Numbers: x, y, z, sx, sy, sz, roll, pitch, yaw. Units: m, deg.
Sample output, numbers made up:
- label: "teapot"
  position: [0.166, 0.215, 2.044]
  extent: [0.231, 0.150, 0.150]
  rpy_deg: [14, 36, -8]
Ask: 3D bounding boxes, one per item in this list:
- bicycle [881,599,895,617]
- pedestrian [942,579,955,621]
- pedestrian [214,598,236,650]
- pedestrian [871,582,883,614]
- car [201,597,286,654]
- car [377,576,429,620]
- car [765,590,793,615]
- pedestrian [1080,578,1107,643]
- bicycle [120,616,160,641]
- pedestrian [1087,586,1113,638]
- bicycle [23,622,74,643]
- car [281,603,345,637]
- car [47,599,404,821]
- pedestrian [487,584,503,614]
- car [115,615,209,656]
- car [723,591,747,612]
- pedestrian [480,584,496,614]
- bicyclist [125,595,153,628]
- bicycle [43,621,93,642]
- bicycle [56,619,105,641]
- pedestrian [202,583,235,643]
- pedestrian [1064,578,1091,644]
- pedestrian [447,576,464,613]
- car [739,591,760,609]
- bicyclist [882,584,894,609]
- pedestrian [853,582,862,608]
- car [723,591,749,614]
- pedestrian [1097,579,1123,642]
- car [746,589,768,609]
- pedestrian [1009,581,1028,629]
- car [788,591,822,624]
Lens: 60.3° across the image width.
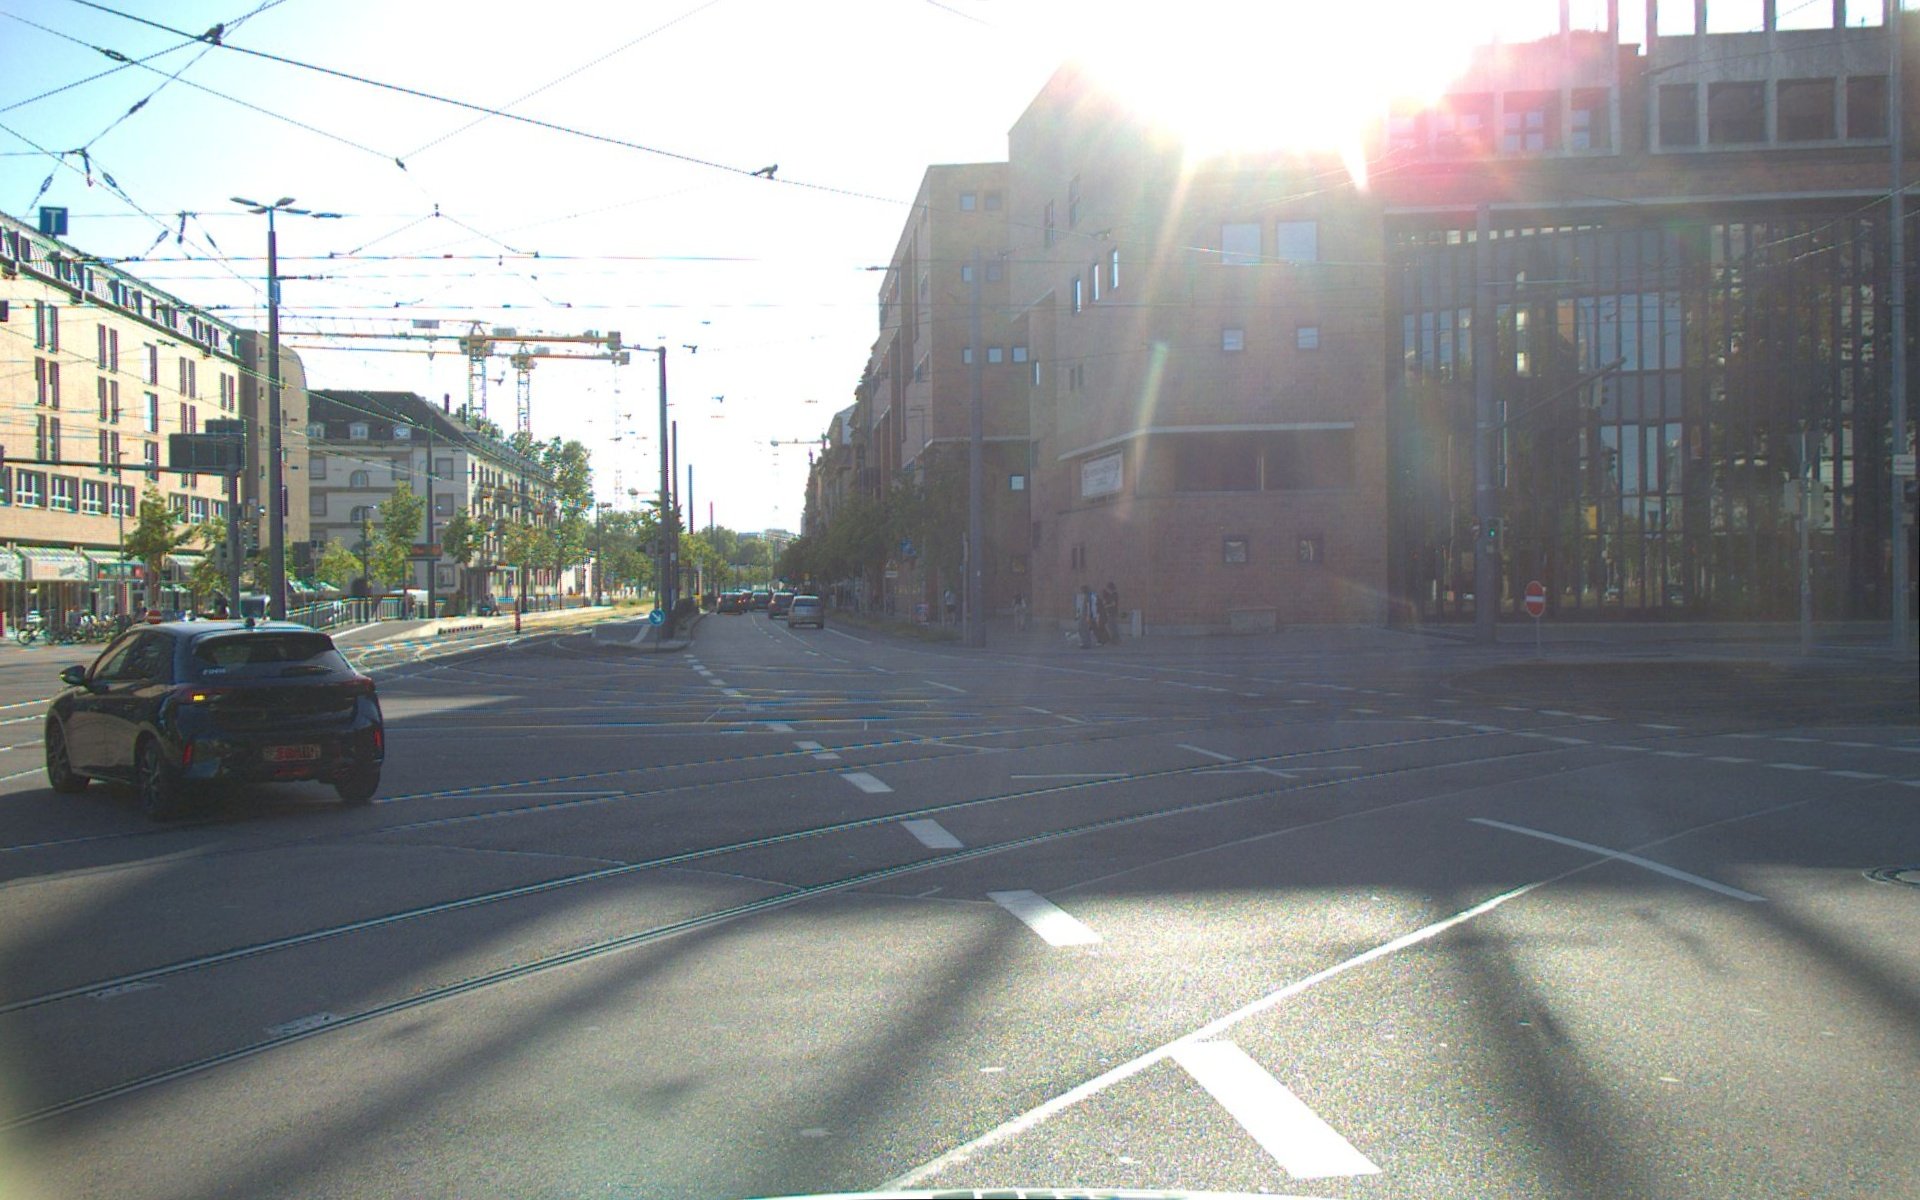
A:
- label: "bicycle"
  position: [-3.993, 0.438, 91.723]
  extent: [0.636, 0.920, 2.343]
  rpy_deg: [-1, 1, -5]
- label: "pedestrian"
  position: [-0.515, -0.012, 73.347]
  extent: [0.536, 1.817, 0.573]
  rpy_deg: [-1, 3, -4]
- label: "pedestrian"
  position: [-22.889, 0.744, 51.516]
  extent: [0.572, 1.604, 0.643]
  rpy_deg: [-1, 0, -20]
- label: "pedestrian"
  position: [-4.857, -0.130, 96.606]
  extent: [0.628, 1.817, 0.687]
  rpy_deg: [-2, 0, -6]
- label: "car"
  position: [-25.534, 0.866, 59.084]
  extent: [1.806, 1.867, 4.097]
  rpy_deg: [-3, 1, -10]
- label: "car"
  position: [-41.661, -0.186, 123.949]
  extent: [2.334, 3.050, 8.452]
  rpy_deg: [-1, 1, -9]
- label: "car"
  position: [-11.226, 0.157, 102.414]
  extent: [1.639, 1.479, 3.692]
  rpy_deg: [-2, 1, -7]
- label: "pedestrian"
  position: [3.806, 0.290, 47.158]
  extent: [0.562, 1.817, 0.547]
  rpy_deg: [-2, 0, -15]
- label: "bicycle"
  position: [-36.073, 1.228, 72.752]
  extent: [0.794, 1.008, 2.504]
  rpy_deg: [-2, 1, -8]
- label: "pedestrian"
  position: [4.147, 0.349, 49.009]
  extent: [0.540, 1.503, 0.569]
  rpy_deg: [-1, 1, -25]
- label: "bicycle"
  position: [-39.741, 1.422, 72.097]
  extent: [1.991, 0.860, 0.483]
  rpy_deg: [-2, 1, 3]
- label: "car"
  position: [-30.788, 0.922, 78.792]
  extent: [1.805, 1.473, 4.290]
  rpy_deg: [-3, 1, -8]
- label: "car"
  position: [-6.143, 0.801, 13.634]
  extent: [1.662, 1.528, 3.635]
  rpy_deg: [2, -1, -41]
- label: "pedestrian"
  position: [-26.782, -0.050, 95.292]
  extent: [0.847, 1.699, 0.734]
  rpy_deg: [0, 1, -17]
- label: "car"
  position: [-28.761, 1.243, 59.746]
  extent: [1.805, 1.290, 4.221]
  rpy_deg: [-3, 1, -8]
- label: "car"
  position: [-17.046, 0.102, 125.576]
  extent: [1.688, 1.479, 3.692]
  rpy_deg: [-2, 1, -7]
- label: "pedestrian"
  position: [-27.374, -0.056, 95.953]
  extent: [0.847, 1.699, 0.781]
  rpy_deg: [0, 1, -17]
- label: "bicyclist"
  position: [-36.088, 0.510, 72.707]
  extent: [0.794, 1.401, 0.924]
  rpy_deg: [-2, 1, -8]
- label: "bicycle"
  position: [-39.728, 1.409, 73.687]
  extent: [1.991, 0.860, 0.483]
  rpy_deg: [-2, 1, 3]
- label: "bicycle"
  position: [-39.938, 1.369, 75.099]
  extent: [1.991, 0.937, 0.483]
  rpy_deg: [-1, 1, 3]
- label: "pedestrian"
  position: [-22.211, 0.376, 49.543]
  extent: [0.707, 1.757, 0.594]
  rpy_deg: [-1, 0, -6]
- label: "pedestrian"
  position: [3.298, 0.311, 46.542]
  extent: [0.562, 1.817, 0.547]
  rpy_deg: [-2, 0, -15]
- label: "pedestrian"
  position: [-26.512, -0.287, 86.985]
  extent: [0.847, 1.919, 0.734]
  rpy_deg: [0, 1, -17]
- label: "car"
  position: [-18.096, -0.016, 142.250]
  extent: [1.688, 1.479, 3.692]
  rpy_deg: [-2, 1, -7]
- label: "bicyclist"
  position: [-4.008, -0.174, 91.830]
  extent: [0.633, 1.362, 0.652]
  rpy_deg: [-1, 0, -6]
- label: "pedestrian"
  position: [-7.382, -0.371, 118.884]
  extent: [0.627, 1.817, 0.688]
  rpy_deg: [-2, 0, -4]
- label: "car"
  position: [-15.573, 0.174, 114.935]
  extent: [1.688, 1.479, 3.692]
  rpy_deg: [-2, 1, -7]
- label: "pedestrian"
  position: [4.324, 0.300, 47.801]
  extent: [0.562, 1.817, 0.547]
  rpy_deg: [-2, 0, -15]
- label: "car"
  position: [-16.265, -0.103, 132.409]
  extent: [1.688, 1.479, 3.692]
  rpy_deg: [-2, 1, -7]
- label: "pedestrian"
  position: [2.241, 0.189, 63.541]
  extent: [0.627, 1.817, 0.688]
  rpy_deg: [-2, 0, -4]
- label: "car"
  position: [-7.302, 0.341, 77.898]
  extent: [1.529, 1.481, 3.428]
  rpy_deg: [-1, 1, -5]
